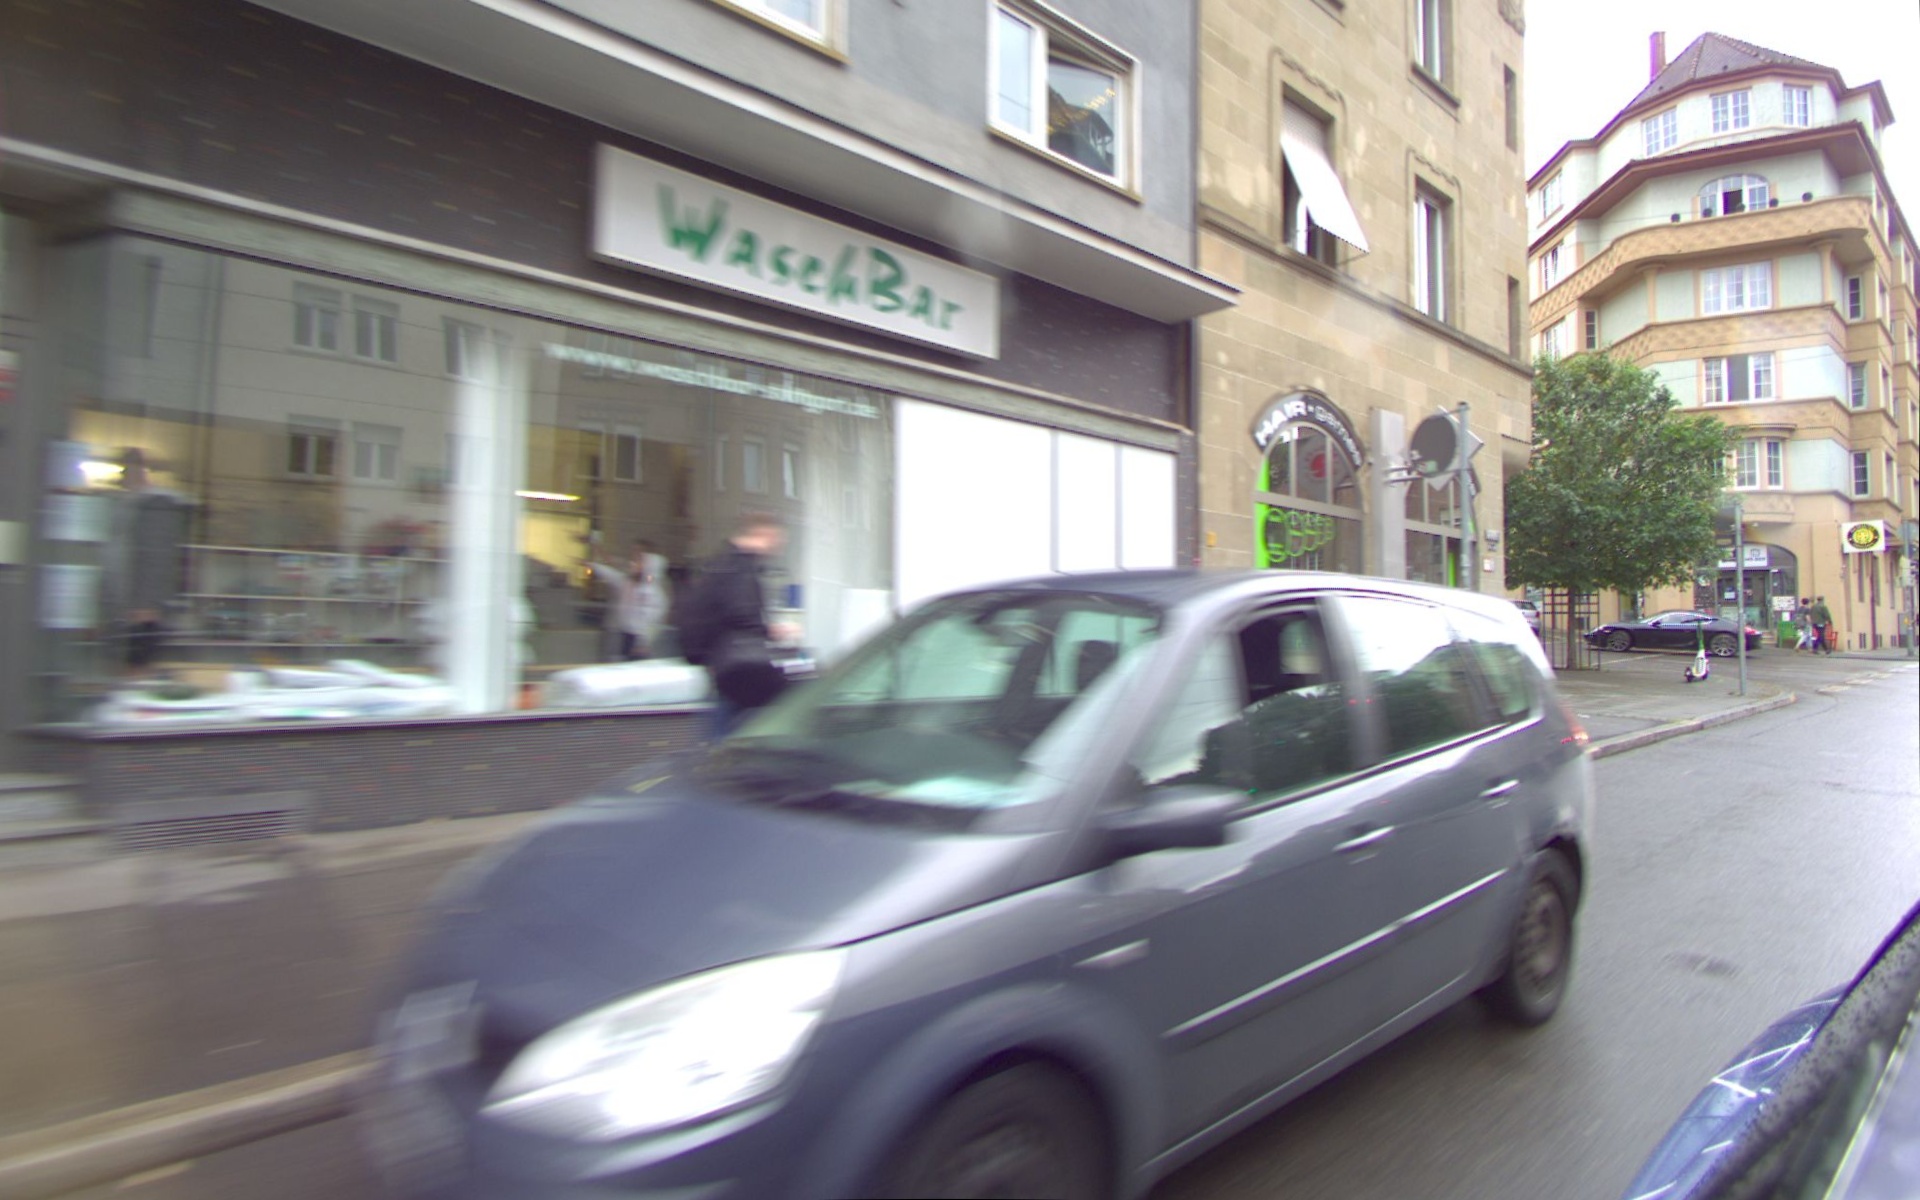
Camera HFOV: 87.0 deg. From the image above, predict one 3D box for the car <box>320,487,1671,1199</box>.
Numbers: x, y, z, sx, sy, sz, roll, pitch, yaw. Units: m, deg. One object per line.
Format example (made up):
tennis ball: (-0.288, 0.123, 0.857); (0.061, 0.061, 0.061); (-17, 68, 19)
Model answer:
car: (0.688, 0.654, 3.456); (4.662, 1.579, 1.768); (0, 0, -41)

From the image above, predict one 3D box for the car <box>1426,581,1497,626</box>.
car: (22.487, 0.143, 45.515); (1.577, 1.867, 3.550); (-2, 0, 5)

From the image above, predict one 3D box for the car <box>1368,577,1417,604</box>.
car: (23.528, -0.511, 55.159); (1.421, 1.443, 3.295); (1, 0, 5)

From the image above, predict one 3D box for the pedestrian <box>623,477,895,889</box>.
pedestrian: (-1.013, 0.364, 5.097); (0.997, 1.792, 0.946); (1, -1, -42)

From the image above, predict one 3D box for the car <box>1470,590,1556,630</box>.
car: (22.129, 0.366, 40.641); (1.661, 1.478, 3.530); (2, 1, 5)

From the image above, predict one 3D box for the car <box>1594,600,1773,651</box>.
car: (21.075, 0.701, 29.661); (4.169, 1.303, 1.685); (0, 2, 36)

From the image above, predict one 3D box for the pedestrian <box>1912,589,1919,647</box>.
pedestrian: (31.744, 0.607, 32.926); (0.886, 1.863, 0.967); (1, 2, -40)

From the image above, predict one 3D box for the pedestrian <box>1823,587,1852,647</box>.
pedestrian: (26.915, 0.515, 31.030); (0.876, 1.811, 0.594); (1, 0, -44)

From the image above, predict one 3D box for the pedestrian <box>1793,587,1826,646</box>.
pedestrian: (26.652, 0.491, 31.738); (0.887, 1.811, 0.682); (1, 0, -44)

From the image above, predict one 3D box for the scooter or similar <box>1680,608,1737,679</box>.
scooter or similar: (13.751, 0.772, 18.577); (0.638, 1.225, 1.527); (0, -1, 45)

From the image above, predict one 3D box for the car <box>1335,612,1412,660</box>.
car: (17.654, 1.512, 43.420); (1.715, 1.747, 4.353); (-3, 1, 4)
